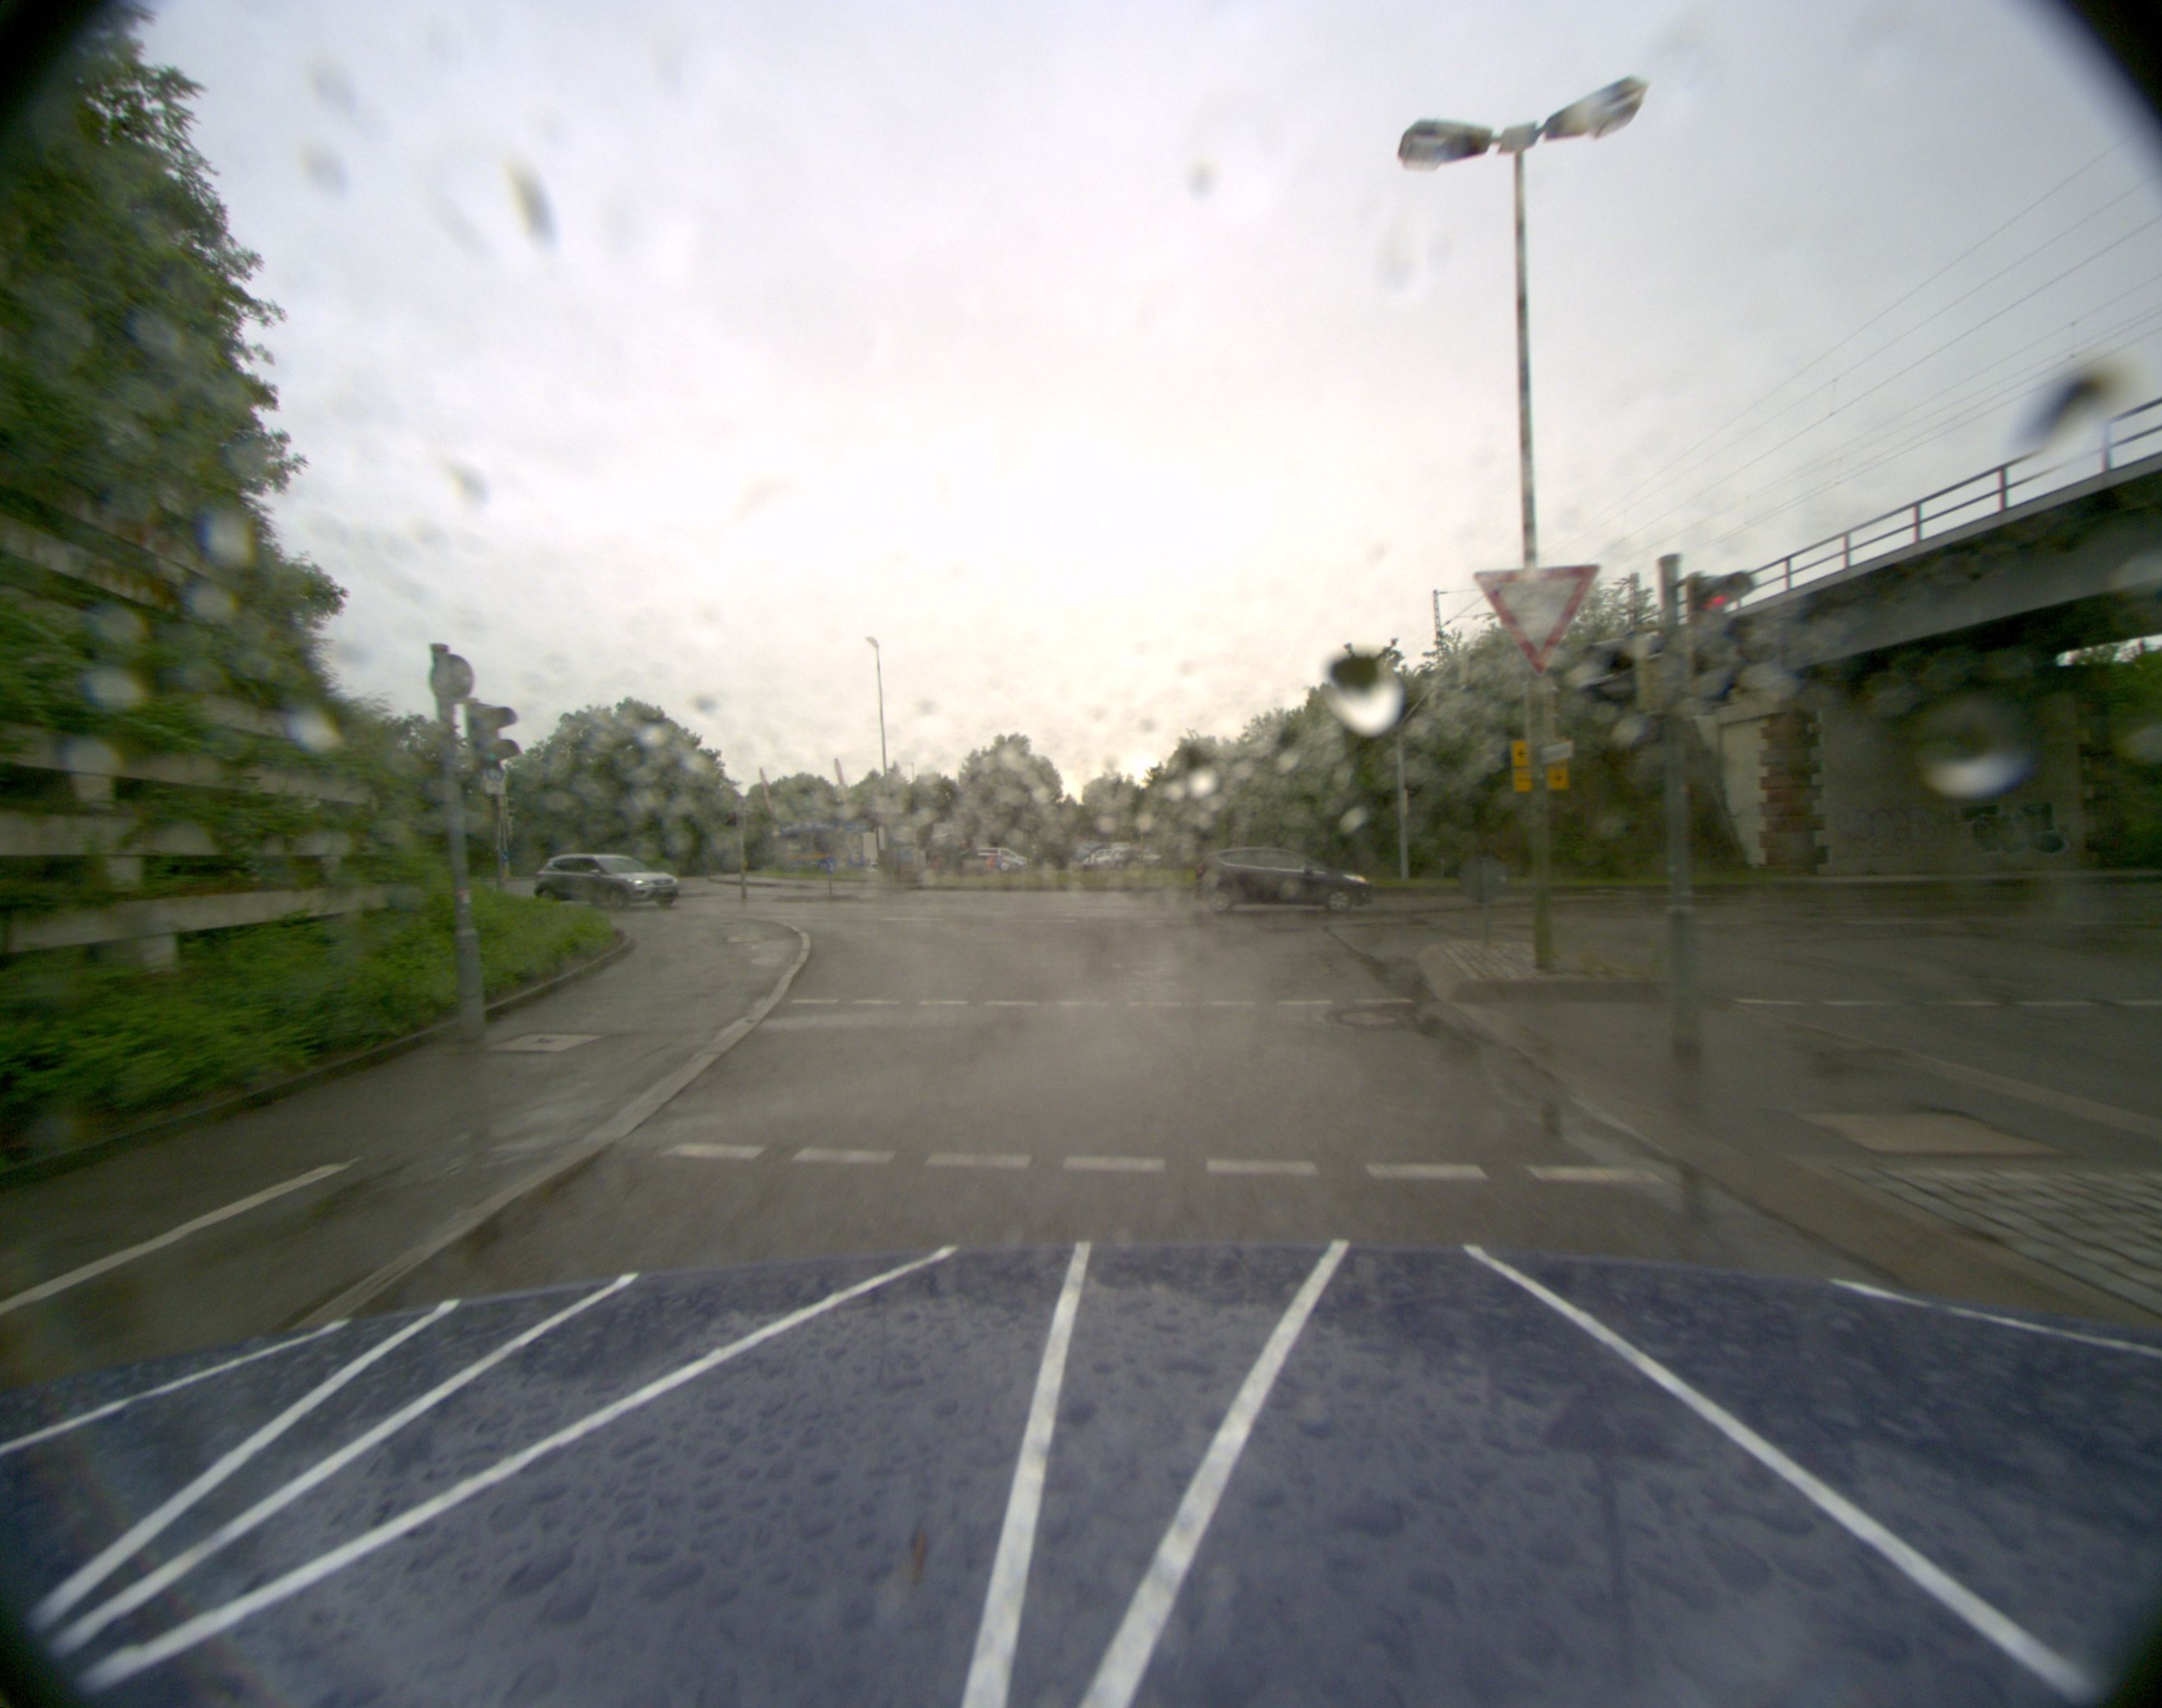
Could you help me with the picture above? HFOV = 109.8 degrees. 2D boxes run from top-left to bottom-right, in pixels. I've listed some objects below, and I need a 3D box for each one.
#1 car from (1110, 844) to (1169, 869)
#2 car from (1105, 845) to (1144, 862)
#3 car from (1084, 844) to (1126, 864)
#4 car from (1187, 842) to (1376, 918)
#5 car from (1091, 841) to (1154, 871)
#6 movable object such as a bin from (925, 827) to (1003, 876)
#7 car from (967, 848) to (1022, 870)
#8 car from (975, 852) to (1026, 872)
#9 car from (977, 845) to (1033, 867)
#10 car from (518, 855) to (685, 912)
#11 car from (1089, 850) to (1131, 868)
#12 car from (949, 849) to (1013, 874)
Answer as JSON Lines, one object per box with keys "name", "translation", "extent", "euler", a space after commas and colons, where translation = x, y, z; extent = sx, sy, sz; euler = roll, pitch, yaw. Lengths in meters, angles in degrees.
{"name": "car", "translation": [3.830, 0.154, 49.967], "extent": [3.821, 1.559, 1.775], "euler": [0, 1, 2]}
{"name": "car", "translation": [3.963, -0.044, 69.132], "extent": [3.477, 1.531, 1.447], "euler": [0, 1, 0]}
{"name": "car", "translation": [2.338, -0.020, 74.433], "extent": [3.960, 1.869, 1.693], "euler": [0, 1, -2]}
{"name": "car", "translation": [4.449, 0.565, 17.068], "extent": [3.881, 1.561, 1.684], "euler": [-1, 1, 14]}
{"name": "car", "translation": [2.854, 0.136, 52.335], "extent": [4.231, 1.969, 1.904], "euler": [0, 1, 2]}
{"name": "movable object such as a bin", "translation": [-6.922, -0.087, 44.434], "extent": [2.315, 2.670, 5.689], "euler": [-1, -1, -33]}
{"name": "car", "translation": [-6.263, 0.375, 54.997], "extent": [3.707, 1.565, 1.592], "euler": [0, 1, 3]}
{"name": "car", "translation": [-6.054, 0.603, 57.436], "extent": [3.624, 1.502, 1.592], "euler": [0, 1, 3]}
{"name": "car", "translation": [-6.223, 0.170, 62.496], "extent": [4.385, 1.755, 1.922], "euler": [0, 1, 3]}
{"name": "car", "translation": [-13.580, 0.801, 21.541], "extent": [4.145, 1.499, 1.685], "euler": [0, 0, 17]}
{"name": "car", "translation": [2.738, 0.478, 71.994], "extent": [3.879, 1.619, 1.693], "euler": [0, 1, -2]}
{"name": "car", "translation": [-6.557, 0.469, 50.057], "extent": [3.996, 1.565, 1.670], "euler": [0, 1, 2]}
